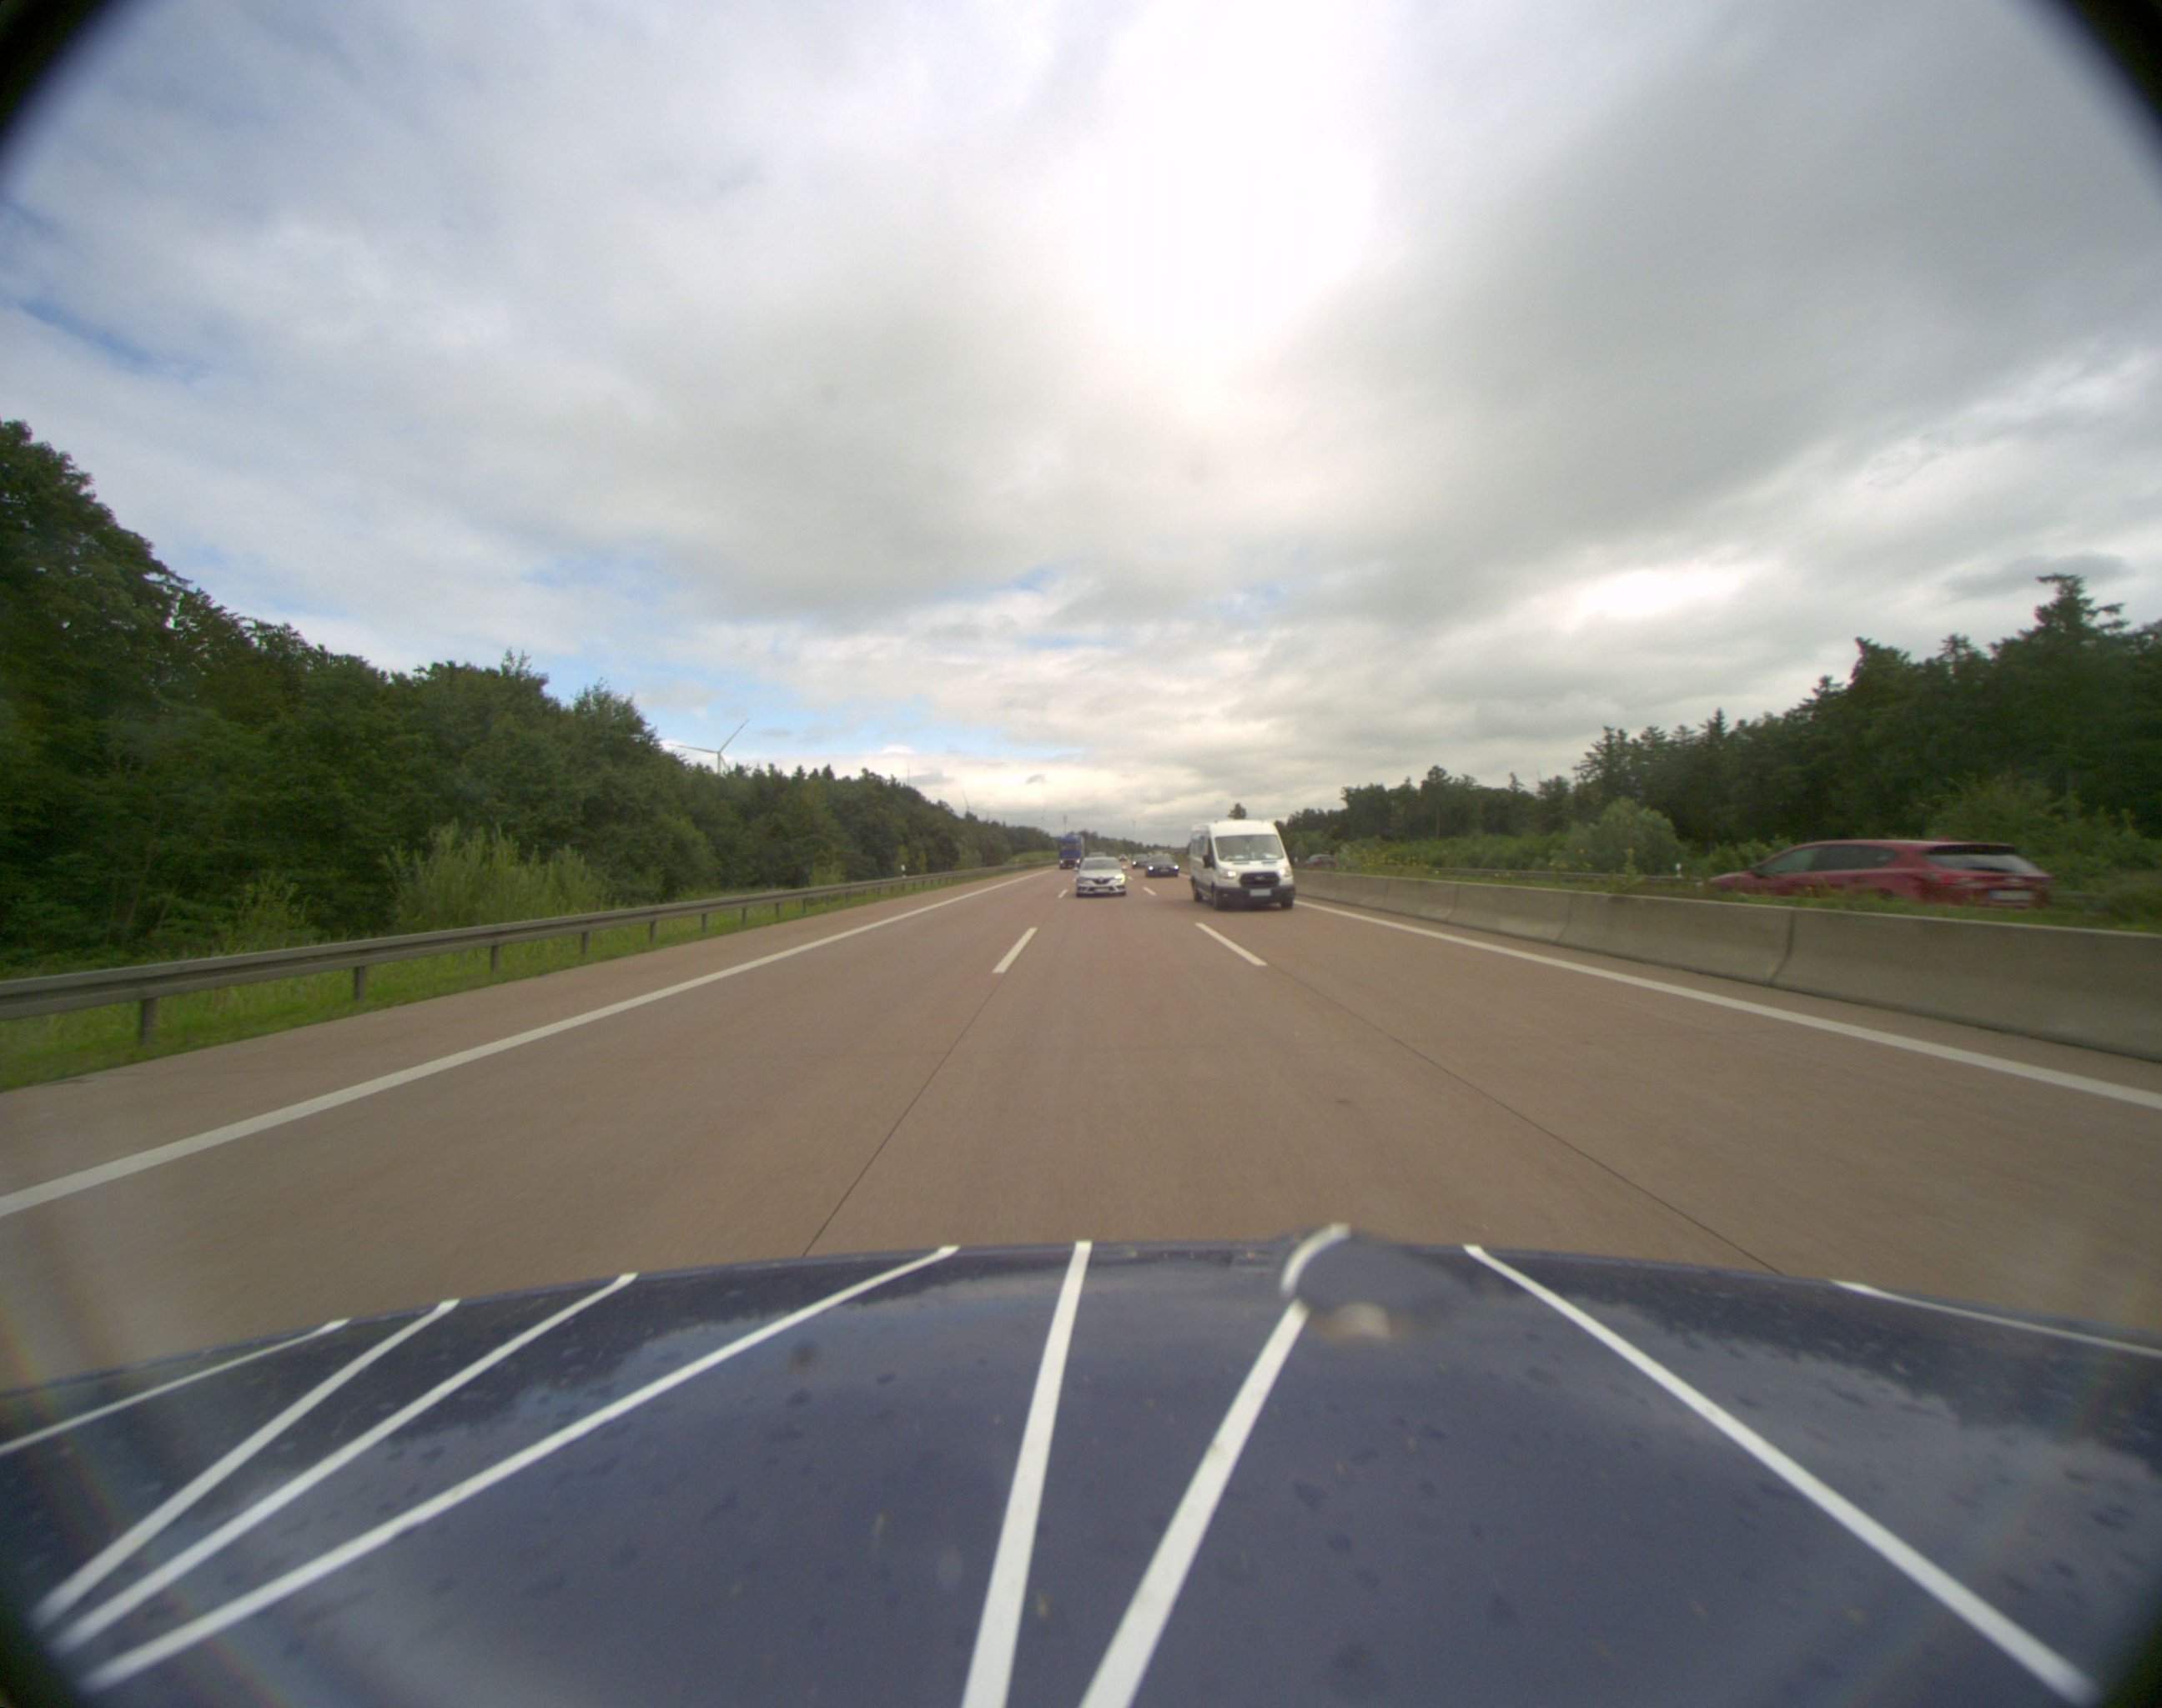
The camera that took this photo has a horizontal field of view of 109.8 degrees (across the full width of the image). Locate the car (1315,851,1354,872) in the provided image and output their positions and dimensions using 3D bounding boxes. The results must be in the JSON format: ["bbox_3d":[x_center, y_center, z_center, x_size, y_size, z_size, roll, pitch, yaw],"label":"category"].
[{"bbox_3d":[20.877,0.612,62.784,1.923,1.638,4.000,-2,0,1],"label":"car"}]

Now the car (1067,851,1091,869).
[{"bbox_3d":[-0.143,0.507,66.666,1.986,1.499,4.051,-2,1,0],"label":"car"}]

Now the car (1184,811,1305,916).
[{"bbox_3d":[4.468,0.212,22.061,2.143,2.492,7.131,-1,0,2],"label":"car"}]

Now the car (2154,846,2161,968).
[{"bbox_3d":[15.691,0.699,8.427,1.923,1.665,4.000,-2,0,1],"label":"car"}]

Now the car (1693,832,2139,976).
[{"bbox_3d":[12.251,0.619,11.743,1.968,1.665,4.430,-4,0,1],"label":"car"}]

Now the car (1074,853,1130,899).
[{"bbox_3d":[0.764,0.772,28.584,1.923,1.516,4.000,-2,0,1],"label":"car"}]

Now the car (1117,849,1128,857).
[{"bbox_3d":[9.161,-0.271,167.339,1.999,1.689,5.251,-2,1,-1],"label":"car"}]

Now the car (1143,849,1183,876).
[{"bbox_3d":[5.280,0.508,49.708,2.090,1.541,5.674,-2,0,1],"label":"car"}]

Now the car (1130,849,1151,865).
[{"bbox_3d":[6.146,0.299,79.070,2.063,1.483,5.453,-2,1,3],"label":"car"}]

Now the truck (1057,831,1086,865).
[{"bbox_3d":[-1.142,-0.703,90.293,2.956,3.705,7.948,-4,0,-1],"label":"truck"}]
